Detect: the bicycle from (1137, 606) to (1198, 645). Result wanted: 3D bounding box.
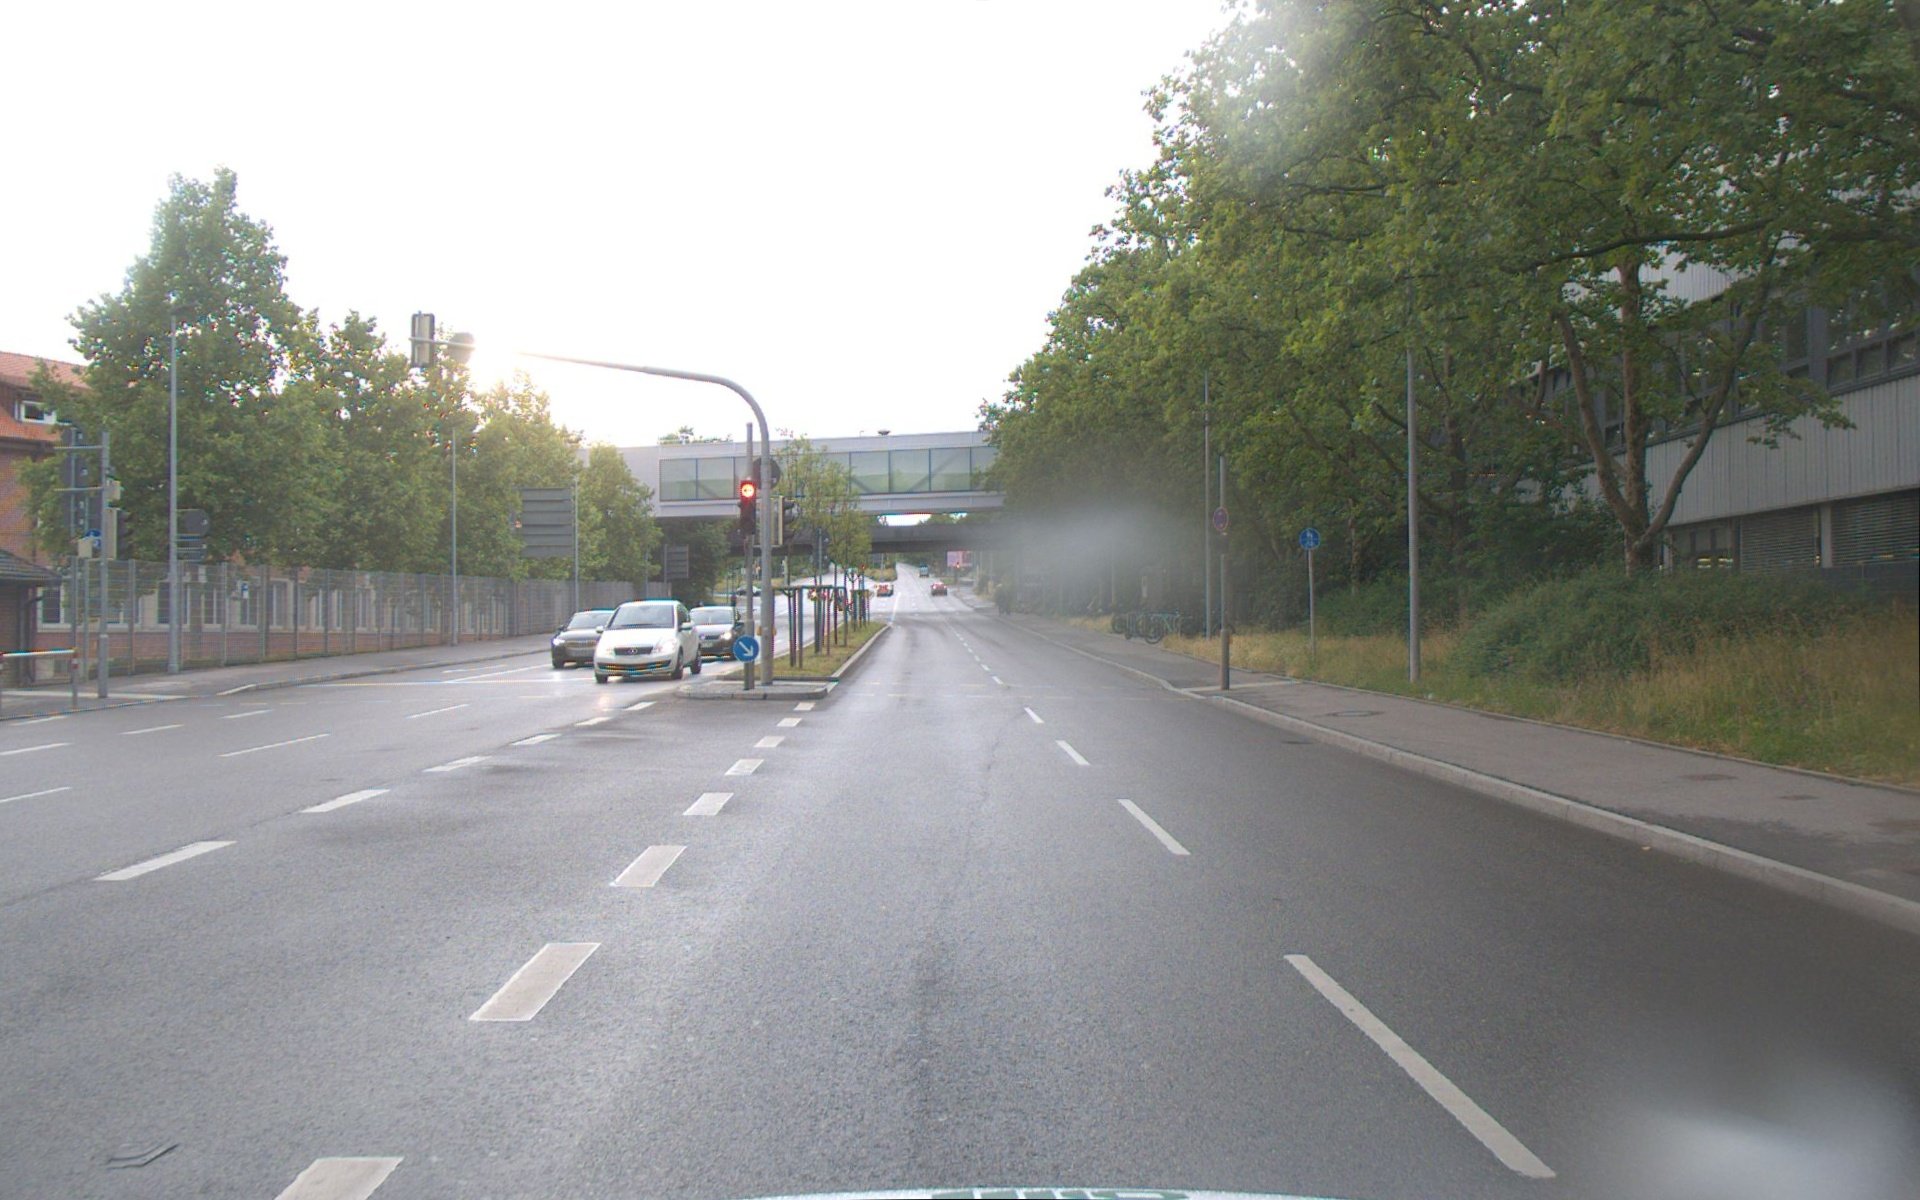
[{"bbox_3d":[6.940,0.858,55.433,1.949,1.255,0.541,2,-2,0],"label":"bicycle"}]

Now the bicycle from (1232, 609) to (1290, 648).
[{"bbox_3d":[10.805,1.022,59.331,1.949,1.352,0.576,2,-2,0],"label":"bicycle"}]

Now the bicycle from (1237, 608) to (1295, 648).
[{"bbox_3d":[10.835,1.006,58.568,1.949,1.352,0.576,2,-2,0],"label":"bicycle"}]

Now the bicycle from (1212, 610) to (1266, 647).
[{"bbox_3d":[10.692,1.108,63.439,1.949,1.352,0.576,2,-2,0],"label":"bicycle"}]

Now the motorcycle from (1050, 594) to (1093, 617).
[{"bbox_3d":[6.198,0.315,91.789,2.318,1.223,0.723,-2,0,7],"label":"motorcycle"}]

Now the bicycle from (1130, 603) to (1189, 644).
[{"bbox_3d":[6.923,0.830,57.483,1.949,1.364,0.541,2,-2,0],"label":"bicycle"}]

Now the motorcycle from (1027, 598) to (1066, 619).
[{"bbox_3d":[5.364,0.543,102.273,2.318,1.223,0.723,-2,0,7],"label":"motorcycle"}]

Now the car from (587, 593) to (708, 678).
[{"bbox_3d":[-6.493,0.709,34.693,1.839,1.653,3.778,-1,0,-1],"label":"car"}]

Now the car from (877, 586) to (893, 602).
[{"bbox_3d":[-9.424,-0.740,208.277,1.846,1.793,3.968,2,-1,-1],"label":"car"}]

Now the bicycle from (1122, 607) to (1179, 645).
[{"bbox_3d":[6.799,0.930,59.120,1.949,1.263,0.541,2,-2,0],"label":"bicycle"}]

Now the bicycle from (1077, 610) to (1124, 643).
[{"bbox_3d":[5.999,1.120,70.879,1.923,1.352,0.654,2,-1,0],"label":"bicycle"}]

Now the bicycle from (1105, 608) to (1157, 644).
[{"bbox_3d":[6.788,1.030,65.738,1.949,1.352,0.576,2,-2,0],"label":"bicycle"}]

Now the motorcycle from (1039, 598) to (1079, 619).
[{"bbox_3d":[5.891,0.498,98.863,2.318,1.223,0.723,-2,0,7],"label":"motorcycle"}]

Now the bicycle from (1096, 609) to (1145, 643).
[{"bbox_3d":[6.574,1.067,67.683,1.920,1.352,0.576,2,-2,0],"label":"bicycle"}]

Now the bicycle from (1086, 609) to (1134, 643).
[{"bbox_3d":[6.338,1.110,69.970,1.923,1.352,0.654,2,-1,0],"label":"bicycle"}]

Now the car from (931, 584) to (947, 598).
[{"bbox_3d":[-2.565,-1.036,200.359,1.837,1.523,4.067,2,-1,-1],"label":"car"}]

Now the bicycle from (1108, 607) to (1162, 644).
[{"bbox_3d":[6.595,0.964,62.396,1.949,1.352,0.576,2,-2,0],"label":"bicycle"}]

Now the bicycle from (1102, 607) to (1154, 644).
[{"bbox_3d":[6.505,0.999,64.147,1.949,1.352,0.576,2,-2,0],"label":"bicycle"}]

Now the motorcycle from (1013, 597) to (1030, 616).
[{"bbox_3d":[4.450,0.496,119.596,0.775,1.334,2.371,-1,0,-9],"label":"motorcycle"}]

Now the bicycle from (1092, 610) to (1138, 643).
[{"bbox_3d":[6.710,1.159,71.692,1.923,1.352,0.654,2,-1,0],"label":"bicycle"}]

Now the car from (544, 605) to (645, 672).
[{"bbox_3d":[-9.588,0.982,43.665,1.839,1.653,3.778,-1,0,-1],"label":"car"}]

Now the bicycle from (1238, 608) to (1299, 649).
[{"bbox_3d":[10.669,0.972,57.238,1.949,1.352,0.576,2,-2,0],"label":"bicycle"}]

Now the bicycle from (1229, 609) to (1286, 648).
[{"bbox_3d":[10.795,1.036,59.996,1.949,1.352,0.576,2,-2,0],"label":"bicycle"}]

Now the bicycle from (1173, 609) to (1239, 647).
[{"bbox_3d":[7.607,0.855,51.198,1.949,1.114,0.541,2,-1,0],"label":"bicycle"}]

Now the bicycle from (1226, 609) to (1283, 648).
[{"bbox_3d":[10.799,1.050,60.644,1.949,1.352,0.576,2,-2,0],"label":"bicycle"}]

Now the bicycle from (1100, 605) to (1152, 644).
[{"bbox_3d":[6.506,0.951,64.881,1.949,1.455,0.723,2,-1,0],"label":"bicycle"}]

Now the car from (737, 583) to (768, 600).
[{"bbox_3d":[-27.088,-1.118,215.975,1.985,2.049,3.935,3,-2,-44],"label":"car"}]

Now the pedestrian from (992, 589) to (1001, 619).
[{"bbox_3d":[2.503,0.247,113.529,0.609,2.049,0.605,-1,-1,-1],"label":"pedestrian"}]

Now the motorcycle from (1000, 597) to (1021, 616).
[{"bbox_3d":[3.762,0.499,122.759,0.778,1.334,2.363,-1,0,-19],"label":"motorcycle"}]

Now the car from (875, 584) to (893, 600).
[{"bbox_3d":[-9.356,-1.002,203.754,1.953,1.793,3.999,2,-1,-1],"label":"car"}]

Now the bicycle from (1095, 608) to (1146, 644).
[{"bbox_3d":[6.455,1.048,66.444,1.949,1.352,0.576,2,-2,0],"label":"bicycle"}]

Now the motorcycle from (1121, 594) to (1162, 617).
[{"bbox_3d":[10.569,0.321,96.335,2.318,1.223,0.723,-2,0,7],"label":"motorcycle"}]

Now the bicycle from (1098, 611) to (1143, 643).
[{"bbox_3d":[7.094,1.203,73.202,1.923,1.352,0.654,2,-1,0],"label":"bicycle"}]

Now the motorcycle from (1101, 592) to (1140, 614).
[{"bbox_3d":[9.576,0.171,98.702,2.318,1.223,0.723,-2,0,7],"label":"motorcycle"}]

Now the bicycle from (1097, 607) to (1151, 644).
[{"bbox_3d":[6.265,0.971,63.200,1.949,1.352,0.576,2,-2,0],"label":"bicycle"}]

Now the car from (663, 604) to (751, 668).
[{"bbox_3d":[-6.863,0.952,45.258,1.839,1.653,3.778,-1,0,-1],"label":"car"}]

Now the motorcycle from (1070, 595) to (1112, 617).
[{"bbox_3d":[7.464,0.345,94.151,2.318,1.223,0.723,-2,0,7],"label":"motorcycle"}]

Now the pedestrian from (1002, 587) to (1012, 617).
[{"bbox_3d":[3.214,0.153,113.364,0.609,2.049,0.605,-1,-1,-1],"label":"pedestrian"}]

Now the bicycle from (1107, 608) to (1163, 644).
[{"bbox_3d":[6.388,0.948,60.487,1.949,1.263,0.541,2,-2,0],"label":"bicycle"}]

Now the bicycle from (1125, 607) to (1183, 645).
[{"bbox_3d":[6.818,0.910,58.172,1.949,1.263,0.541,2,-2,0],"label":"bicycle"}]

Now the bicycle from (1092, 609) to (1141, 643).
[{"bbox_3d":[6.479,1.079,68.371,1.923,1.352,0.654,2,-1,0],"label":"bicycle"}]

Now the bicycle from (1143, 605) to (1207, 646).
[{"bbox_3d":[6.909,0.817,53.216,1.949,1.237,0.541,2,-2,0],"label":"bicycle"}]

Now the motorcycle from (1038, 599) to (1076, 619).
[{"bbox_3d":[6.184,0.557,105.556,2.318,1.223,0.793,-2,0,7],"label":"motorcycle"}]

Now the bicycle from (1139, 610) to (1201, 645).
[{"bbox_3d":[6.961,0.906,54.822,1.949,1.114,0.541,2,-1,0],"label":"bicycle"}]

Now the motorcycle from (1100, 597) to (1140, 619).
[{"bbox_3d":[9.488,0.466,97.887,2.318,1.223,0.723,-2,0,7],"label":"motorcycle"}]

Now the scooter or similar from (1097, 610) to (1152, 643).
[{"bbox_3d":[6.085,0.993,61.274,1.949,1.158,0.541,2,-1,0],"label":"scooter or similar"}]

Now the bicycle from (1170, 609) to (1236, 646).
[{"bbox_3d":[7.599,0.867,51.767,1.949,1.114,0.541,2,-1,0],"label":"bicycle"}]

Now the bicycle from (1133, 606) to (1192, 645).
[{"bbox_3d":[6.944,0.883,56.770,1.949,1.263,0.541,2,-2,0],"label":"bicycle"}]

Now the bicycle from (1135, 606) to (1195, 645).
[{"bbox_3d":[6.945,0.866,56.029,1.949,1.263,0.541,2,-2,0],"label":"bicycle"}]

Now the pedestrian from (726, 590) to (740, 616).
[{"bbox_3d":[-18.796,0.236,136.762,0.861,2.039,0.847,4,-3,-26],"label":"pedestrian"}]

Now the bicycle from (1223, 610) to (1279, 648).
[{"bbox_3d":[10.799,1.065,61.313,1.949,1.352,0.576,2,-2,0],"label":"bicycle"}]

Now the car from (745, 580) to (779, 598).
[{"bbox_3d":[-23.978,-1.309,200.235,1.985,2.049,3.934,3,-2,-44],"label":"car"}]

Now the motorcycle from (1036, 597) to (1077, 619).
[{"bbox_3d":[5.686,0.469,97.088,2.318,1.223,0.723,-2,0,7],"label":"motorcycle"}]
